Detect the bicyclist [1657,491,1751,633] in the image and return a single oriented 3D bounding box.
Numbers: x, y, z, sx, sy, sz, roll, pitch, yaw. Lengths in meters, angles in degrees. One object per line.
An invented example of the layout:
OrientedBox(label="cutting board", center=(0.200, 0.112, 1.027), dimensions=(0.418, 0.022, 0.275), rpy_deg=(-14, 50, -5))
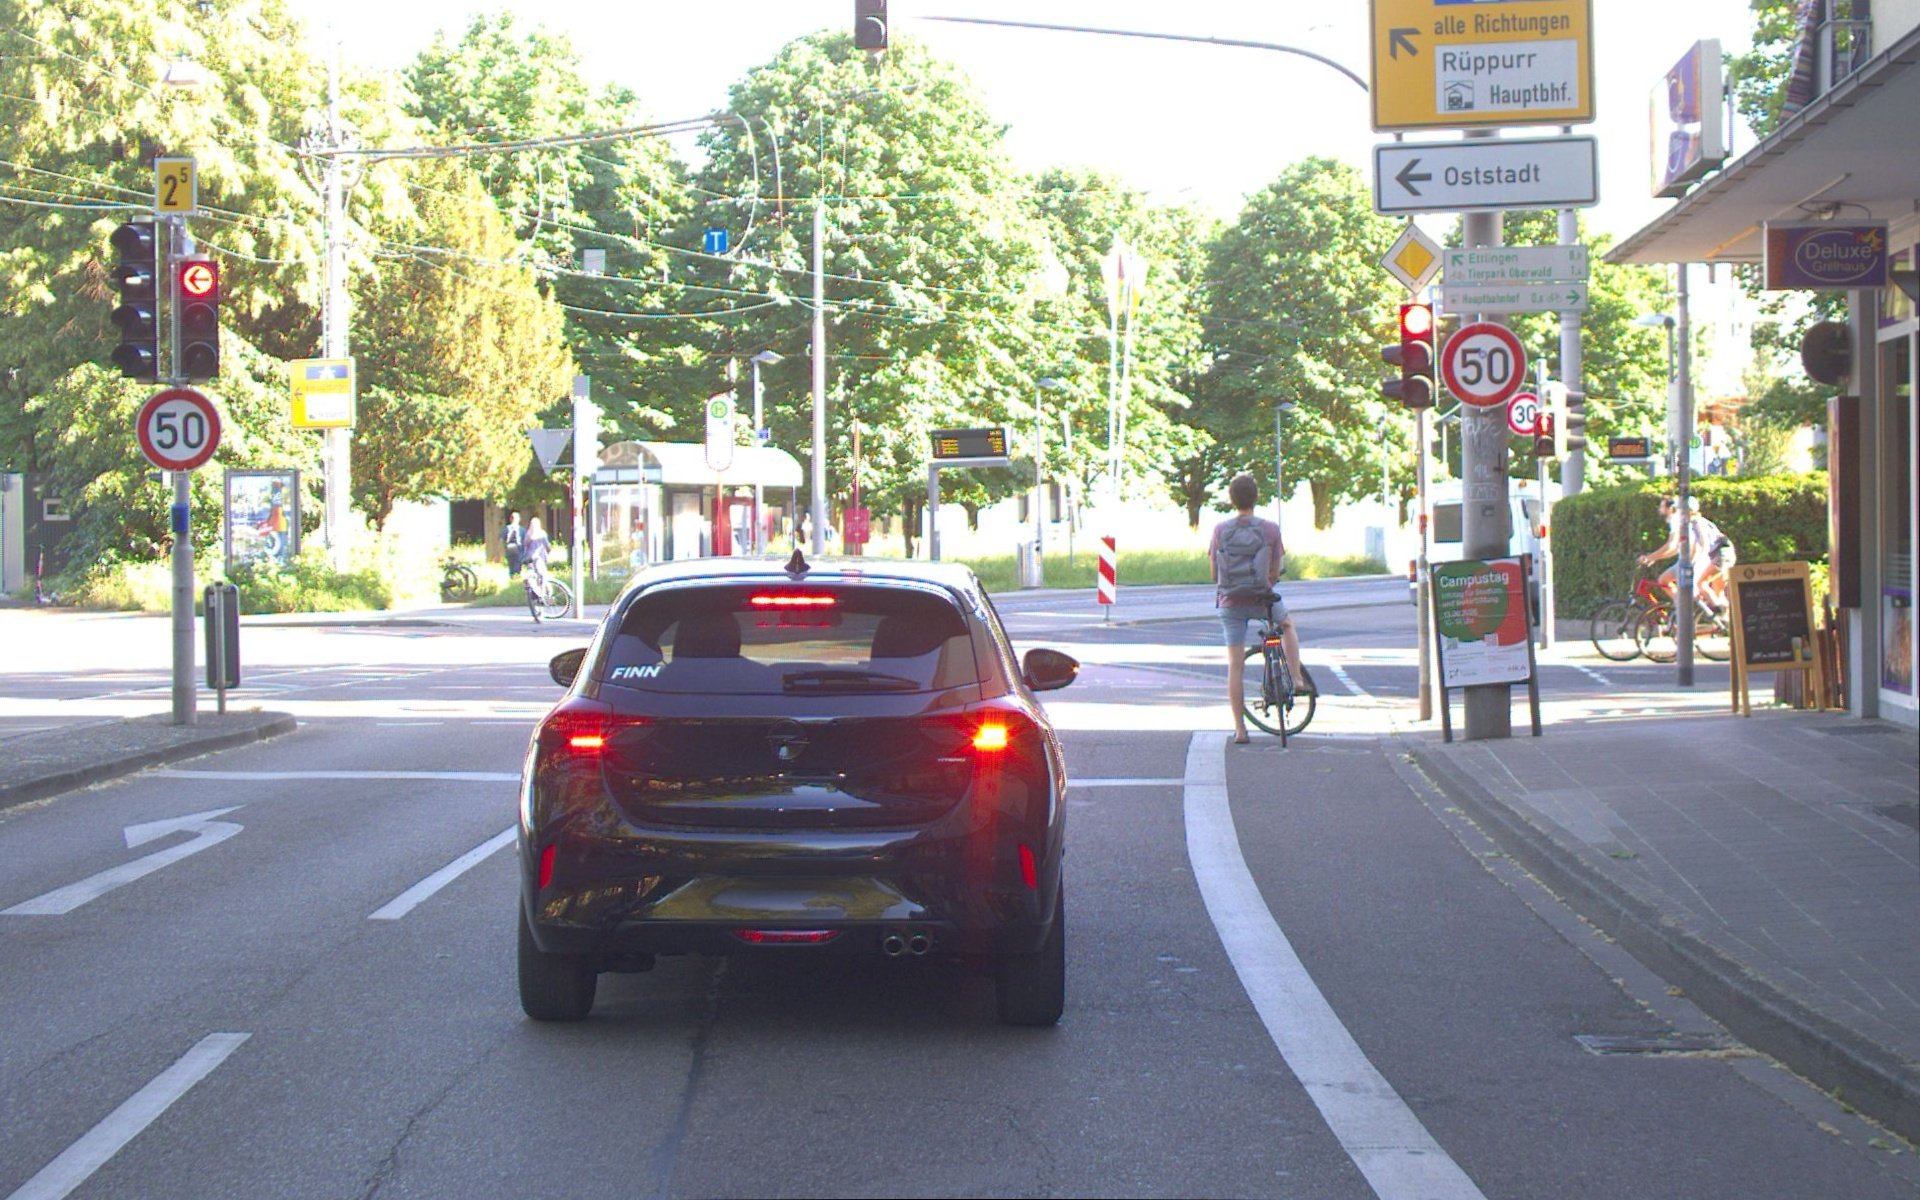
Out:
OrientedBox(label="bicyclist", center=(8.279, -0.425, 38.282), dimensions=(1.010, 1.565, 0.799), rpy_deg=(0, 1, 11))

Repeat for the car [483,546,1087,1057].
OrientedBox(label="car", center=(-0.506, 0.548, 11.989), dimensions=(1.727, 1.424, 4.187), rpy_deg=(1, 1, 0))

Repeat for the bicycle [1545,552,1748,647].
OrientedBox(label="bicycle", center=(8.001, -0.012, 40.052), dimensions=(2.294, 1.080, 0.800), rpy_deg=(0, 1, 13))

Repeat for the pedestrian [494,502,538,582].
OrientedBox(label="pedestrian", center=(-9.202, -1.199, 71.252), dimensions=(0.751, 1.624, 0.597), rpy_deg=(2, 1, 7))

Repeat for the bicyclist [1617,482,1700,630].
OrientedBox(label="bicyclist", center=(8.128, -0.517, 39.989), dimensions=(0.927, 1.701, 0.875), rpy_deg=(0, 1, 12))

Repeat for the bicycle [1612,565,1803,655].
OrientedBox(label="bicycle", center=(8.317, 0.111, 38.300), dimensions=(2.059, 0.980, 0.672), rpy_deg=(0, 1, 11))

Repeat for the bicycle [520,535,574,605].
OrientedBox(label="bicycle", center=(-6.323, -0.467, 52.706), dimensions=(0.605, 1.027, 1.982), rpy_deg=(0, 2, 0))

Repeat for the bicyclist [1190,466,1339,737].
OrientedBox(label="bicyclist", center=(2.119, 0.000, 24.032), dimensions=(0.941, 1.844, 0.864), rpy_deg=(-1, 1, -1))

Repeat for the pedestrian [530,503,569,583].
OrientedBox(label="pedestrian", center=(-8.495, -1.177, 71.159), dimensions=(0.636, 1.624, 0.572), rpy_deg=(2, 1, 7))

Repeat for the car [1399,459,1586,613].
OrientedBox(label="car", center=(8.203, -0.997, 52.596), dimensions=(2.065, 2.241, 4.883), rpy_deg=(0, 2, 18))

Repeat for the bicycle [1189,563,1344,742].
OrientedBox(label="bicycle", center=(2.123, 0.342, 24.083), dimensions=(0.860, 1.149, 2.172), rpy_deg=(-1, 2, -1))
